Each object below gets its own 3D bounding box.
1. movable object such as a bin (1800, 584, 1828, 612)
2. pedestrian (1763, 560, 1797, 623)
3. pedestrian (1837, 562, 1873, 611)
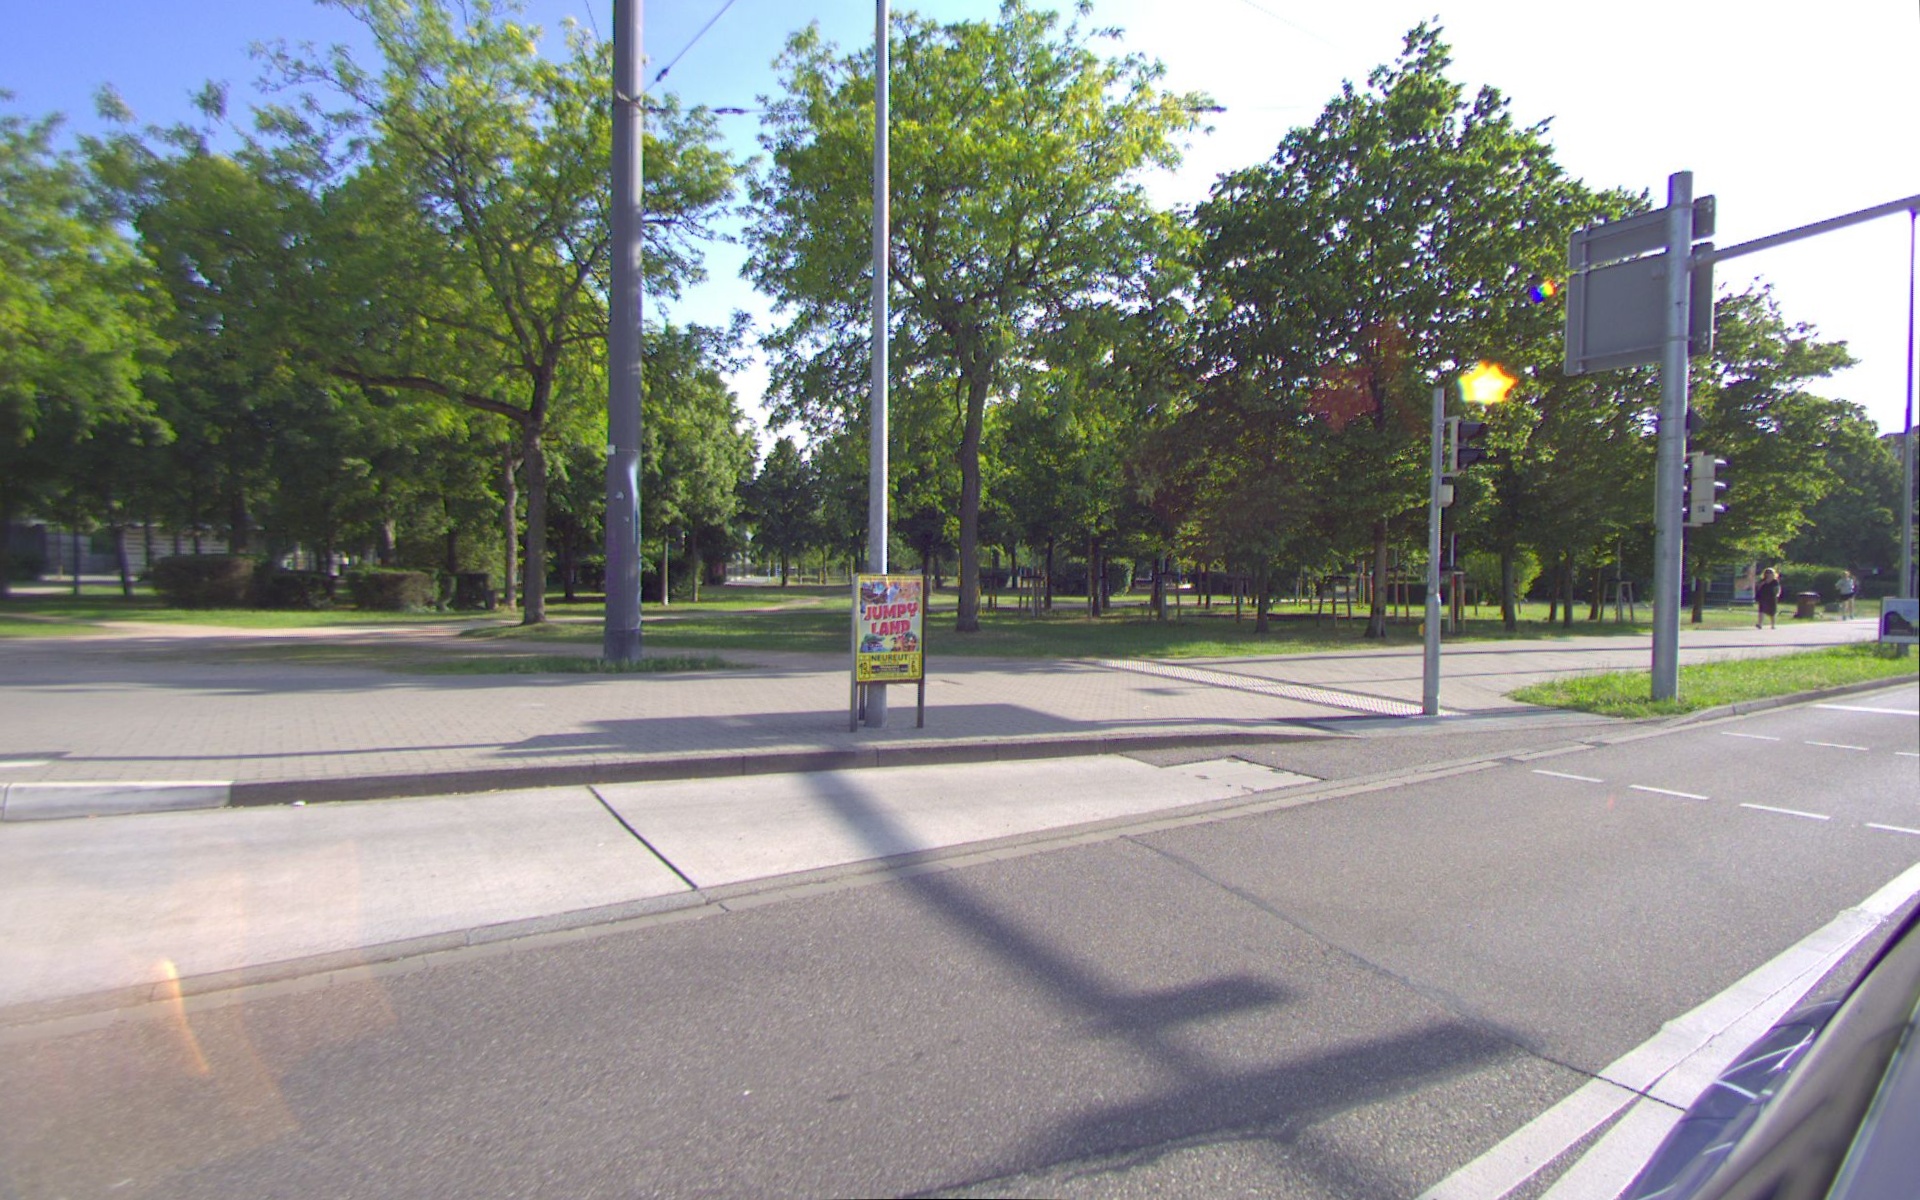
[{"bbox_3d":[29.464,-0.073,34.902,0.515,0.915,0.503,0,1,4],"label":"movable object such as a bin"},{"bbox_3d":[22.649,-0.242,27.944,0.650,1.722,0.558,-1,2,-36],"label":"pedestrian"},{"bbox_3d":[31.069,-0.479,35.144,0.611,1.671,0.661,1,1,6],"label":"pedestrian"}]
